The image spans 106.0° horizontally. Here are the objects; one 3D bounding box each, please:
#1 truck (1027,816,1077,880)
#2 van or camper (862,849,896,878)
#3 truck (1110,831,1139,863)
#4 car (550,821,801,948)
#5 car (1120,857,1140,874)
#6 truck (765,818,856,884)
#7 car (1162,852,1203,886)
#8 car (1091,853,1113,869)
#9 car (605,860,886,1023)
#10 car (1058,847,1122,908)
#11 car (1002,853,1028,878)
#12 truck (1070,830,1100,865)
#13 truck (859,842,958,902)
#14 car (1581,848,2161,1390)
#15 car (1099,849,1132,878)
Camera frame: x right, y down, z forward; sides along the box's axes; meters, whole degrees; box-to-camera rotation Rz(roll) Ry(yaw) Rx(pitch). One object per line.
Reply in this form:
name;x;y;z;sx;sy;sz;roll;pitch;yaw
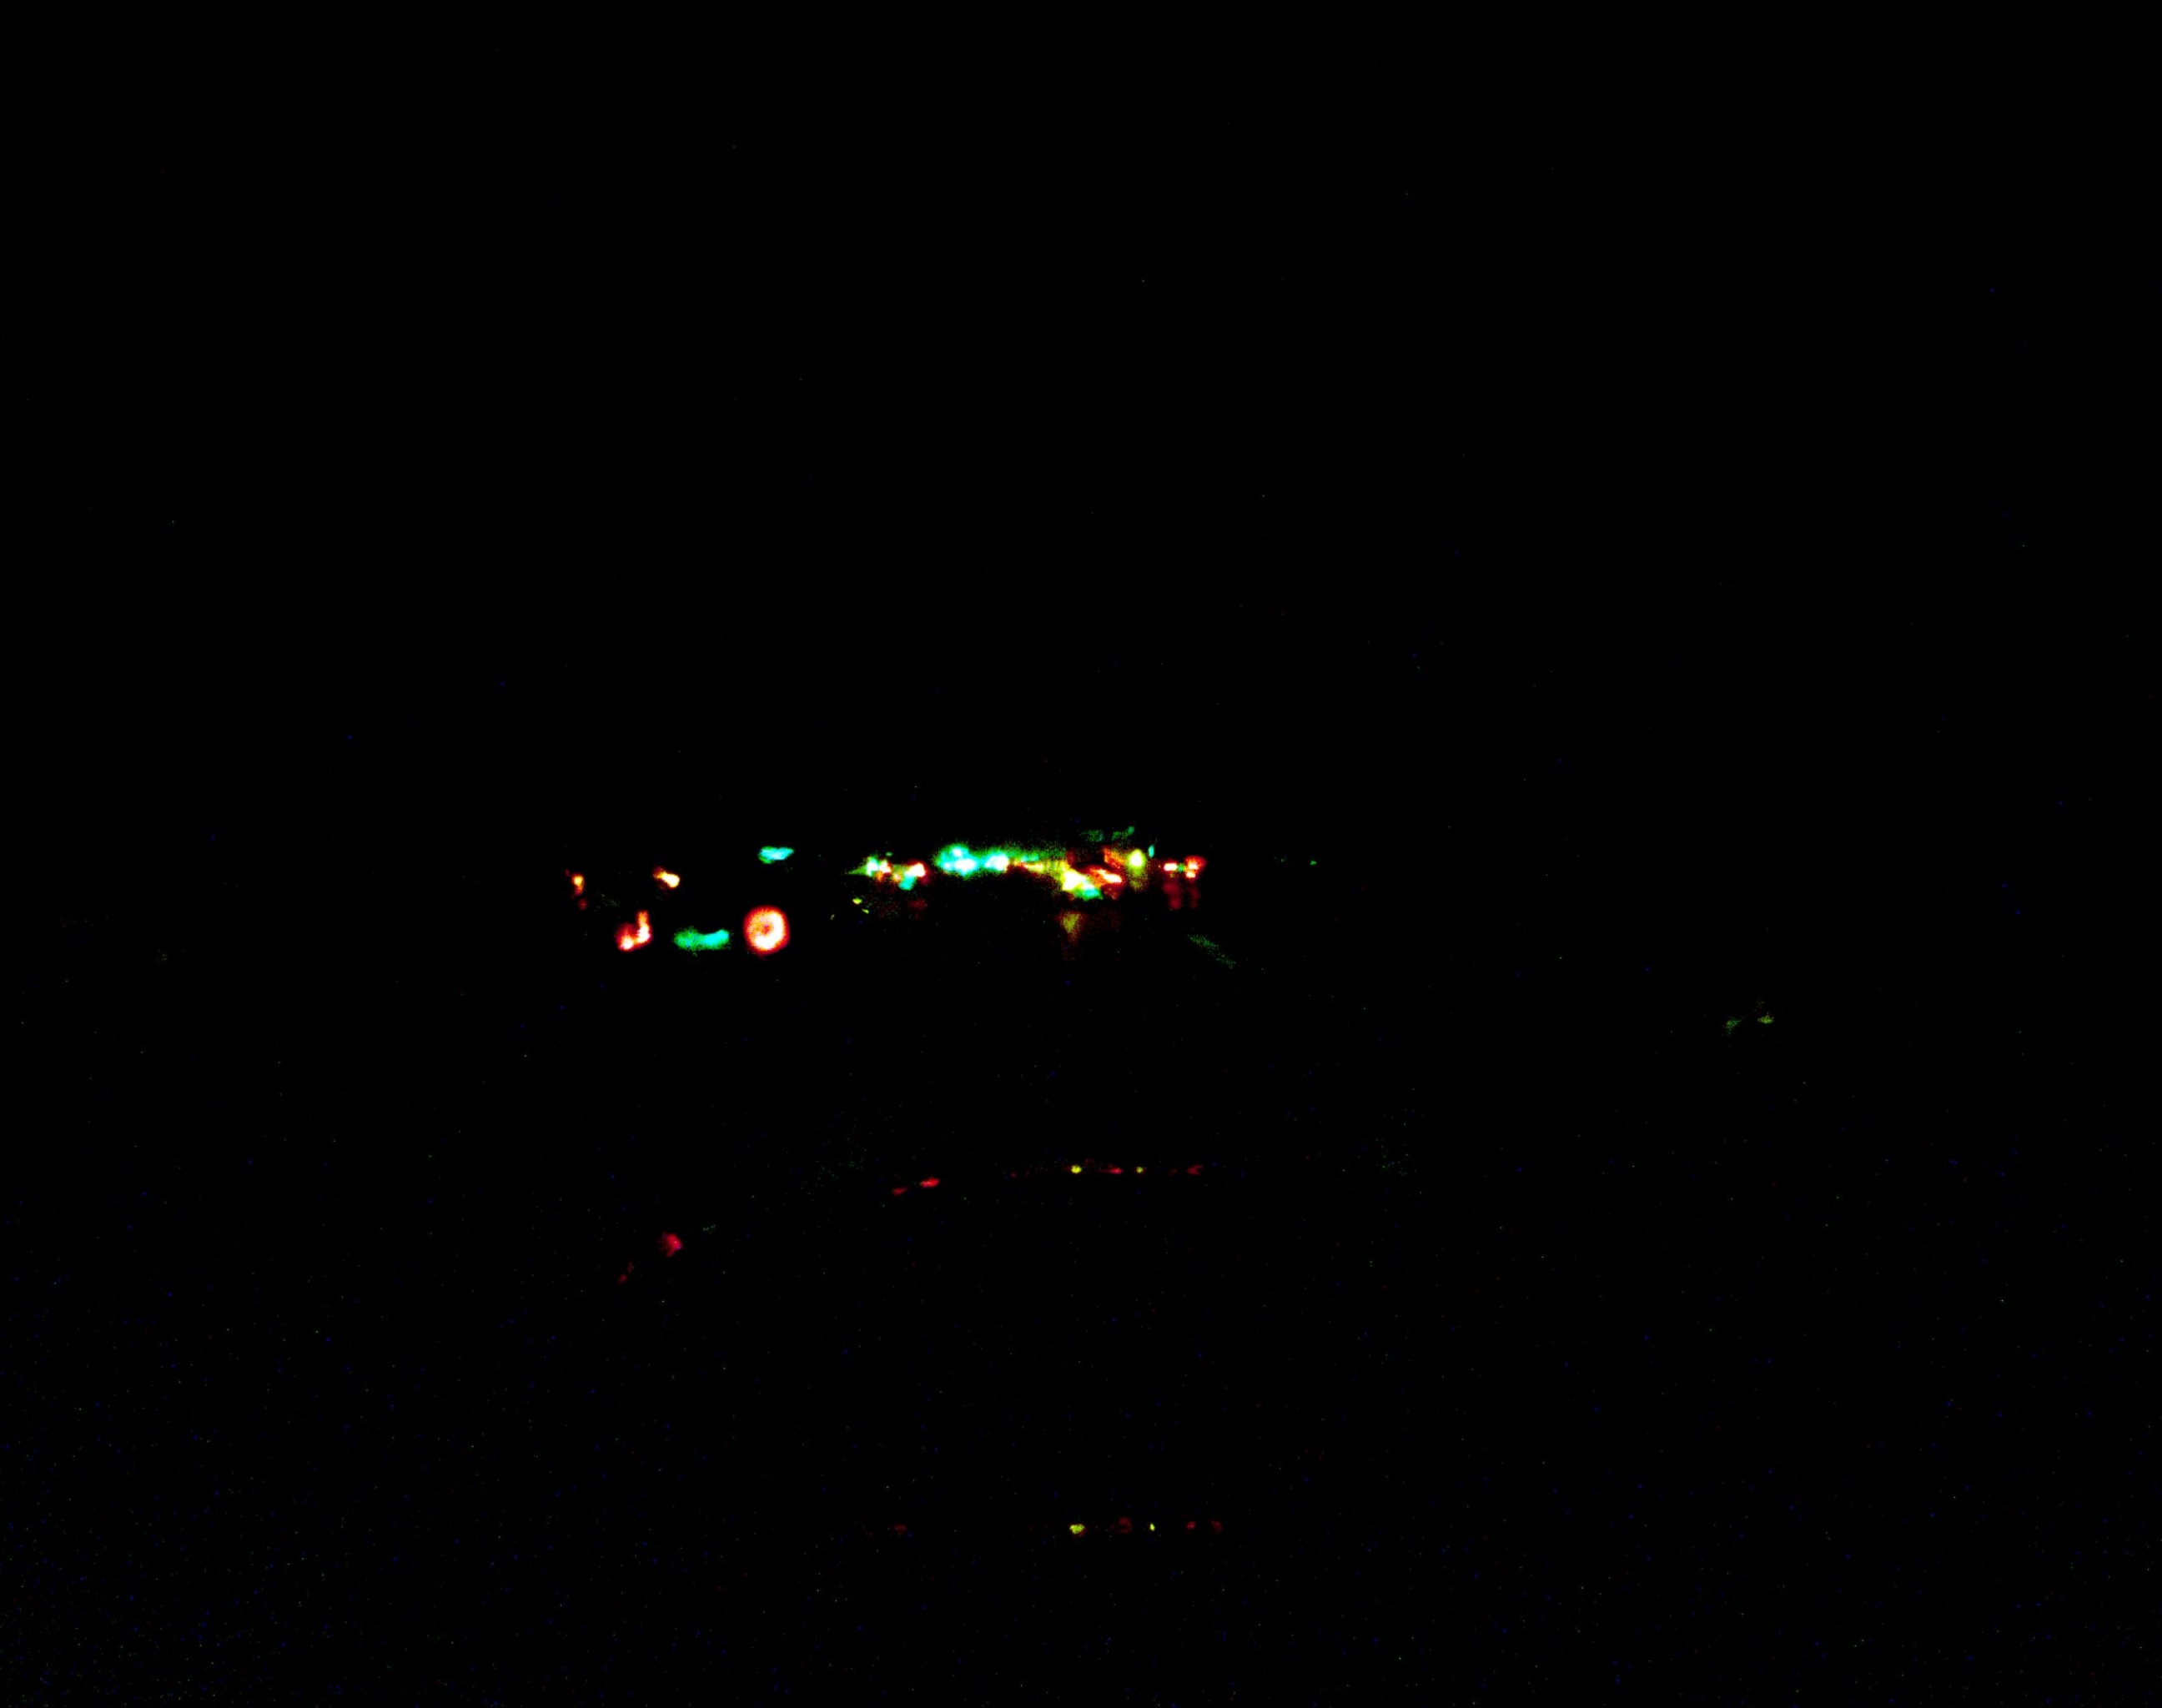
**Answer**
truck;-2.293;-0.397;64.722;3.647;4.737;9.843;0;-1;-2
van or camper;-27.193;1.267;110.084;2.505;3.701;7.682;0;-1;2
truck;7.177;-1.114;136.327;4.149;5.215;9.949;0;-1;-1
car;-7.762;0.514;16.453;2.115;2.104;5.631;-1;0;2
car;5.105;1.164;85.157;1.986;1.704;4.460;0;-1;2
truck;-28.581;-0.232;87.477;3.209;6.412;17.315;0;-1;3
car;5.508;0.800;44.518;1.870;1.762;4.002;0;-1;2
car;2.818;0.963;106.712;2.822;2.014;5.513;0;-1;2
car;-3.632;0.825;9.707;1.652;1.431;4.244;-1;0;-1
car;0.335;0.642;24.601;1.758;1.689;4.003;-1;0;2
car;-6.041;1.035;74.800;2.260;2.273;5.376;0;-1;-5
truck;0.741;-0.944;131.900;4.236;5.444;10.893;0;-1;3
truck;-6.866;0.693;33.274;2.849;2.201;5.856;0;-1;-1
car;3.815;0.713;2.738;1.763;1.457;4.196;-1;0;1
car;2.216;0.611;52.883;2.031;1.761;4.517;0;-1;2
